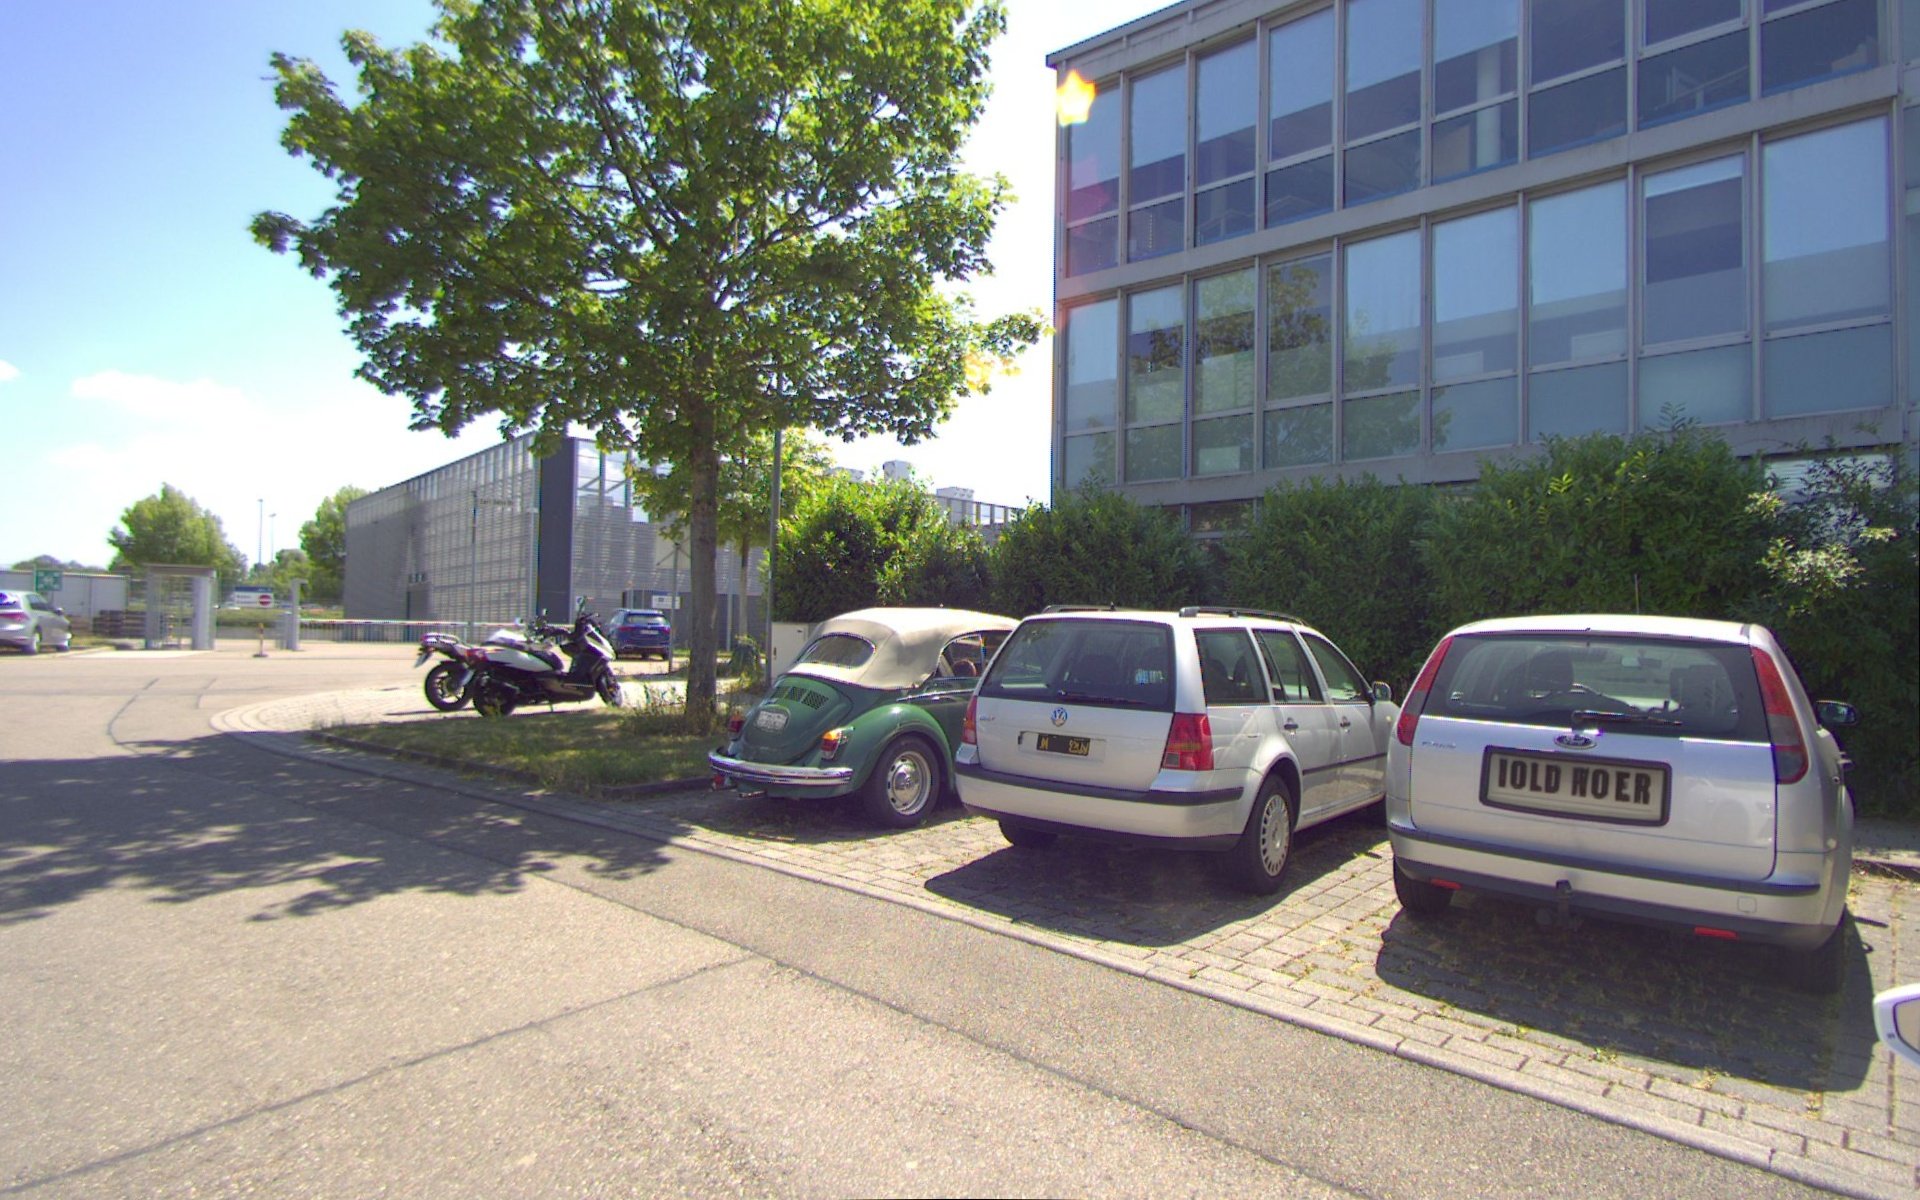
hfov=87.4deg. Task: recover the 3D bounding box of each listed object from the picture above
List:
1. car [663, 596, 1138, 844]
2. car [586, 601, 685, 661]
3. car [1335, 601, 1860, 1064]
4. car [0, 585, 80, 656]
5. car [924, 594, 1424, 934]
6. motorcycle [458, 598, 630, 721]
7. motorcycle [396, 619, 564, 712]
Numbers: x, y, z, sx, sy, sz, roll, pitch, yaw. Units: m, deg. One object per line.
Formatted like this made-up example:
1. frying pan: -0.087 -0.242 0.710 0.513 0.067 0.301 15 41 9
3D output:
1. car: -0.234 0.778 8.035 1.627 1.467 3.876 1 -1 38
2. car: -9.573 0.876 29.459 1.977 1.616 3.968 2 -1 -30
3. car: 3.709 0.833 5.499 1.699 1.499 4.327 1 -1 41
4. car: -22.286 0.443 23.547 1.633 1.542 3.969 2 -1 -29
5. car: 1.641 0.790 6.504 1.627 1.499 3.876 1 -1 38
6. motorcycle: -5.119 0.710 12.488 0.477 1.408 1.982 1 -1 38
7. motorcycle: -6.285 0.833 13.269 0.477 1.123 1.982 1 -1 38
